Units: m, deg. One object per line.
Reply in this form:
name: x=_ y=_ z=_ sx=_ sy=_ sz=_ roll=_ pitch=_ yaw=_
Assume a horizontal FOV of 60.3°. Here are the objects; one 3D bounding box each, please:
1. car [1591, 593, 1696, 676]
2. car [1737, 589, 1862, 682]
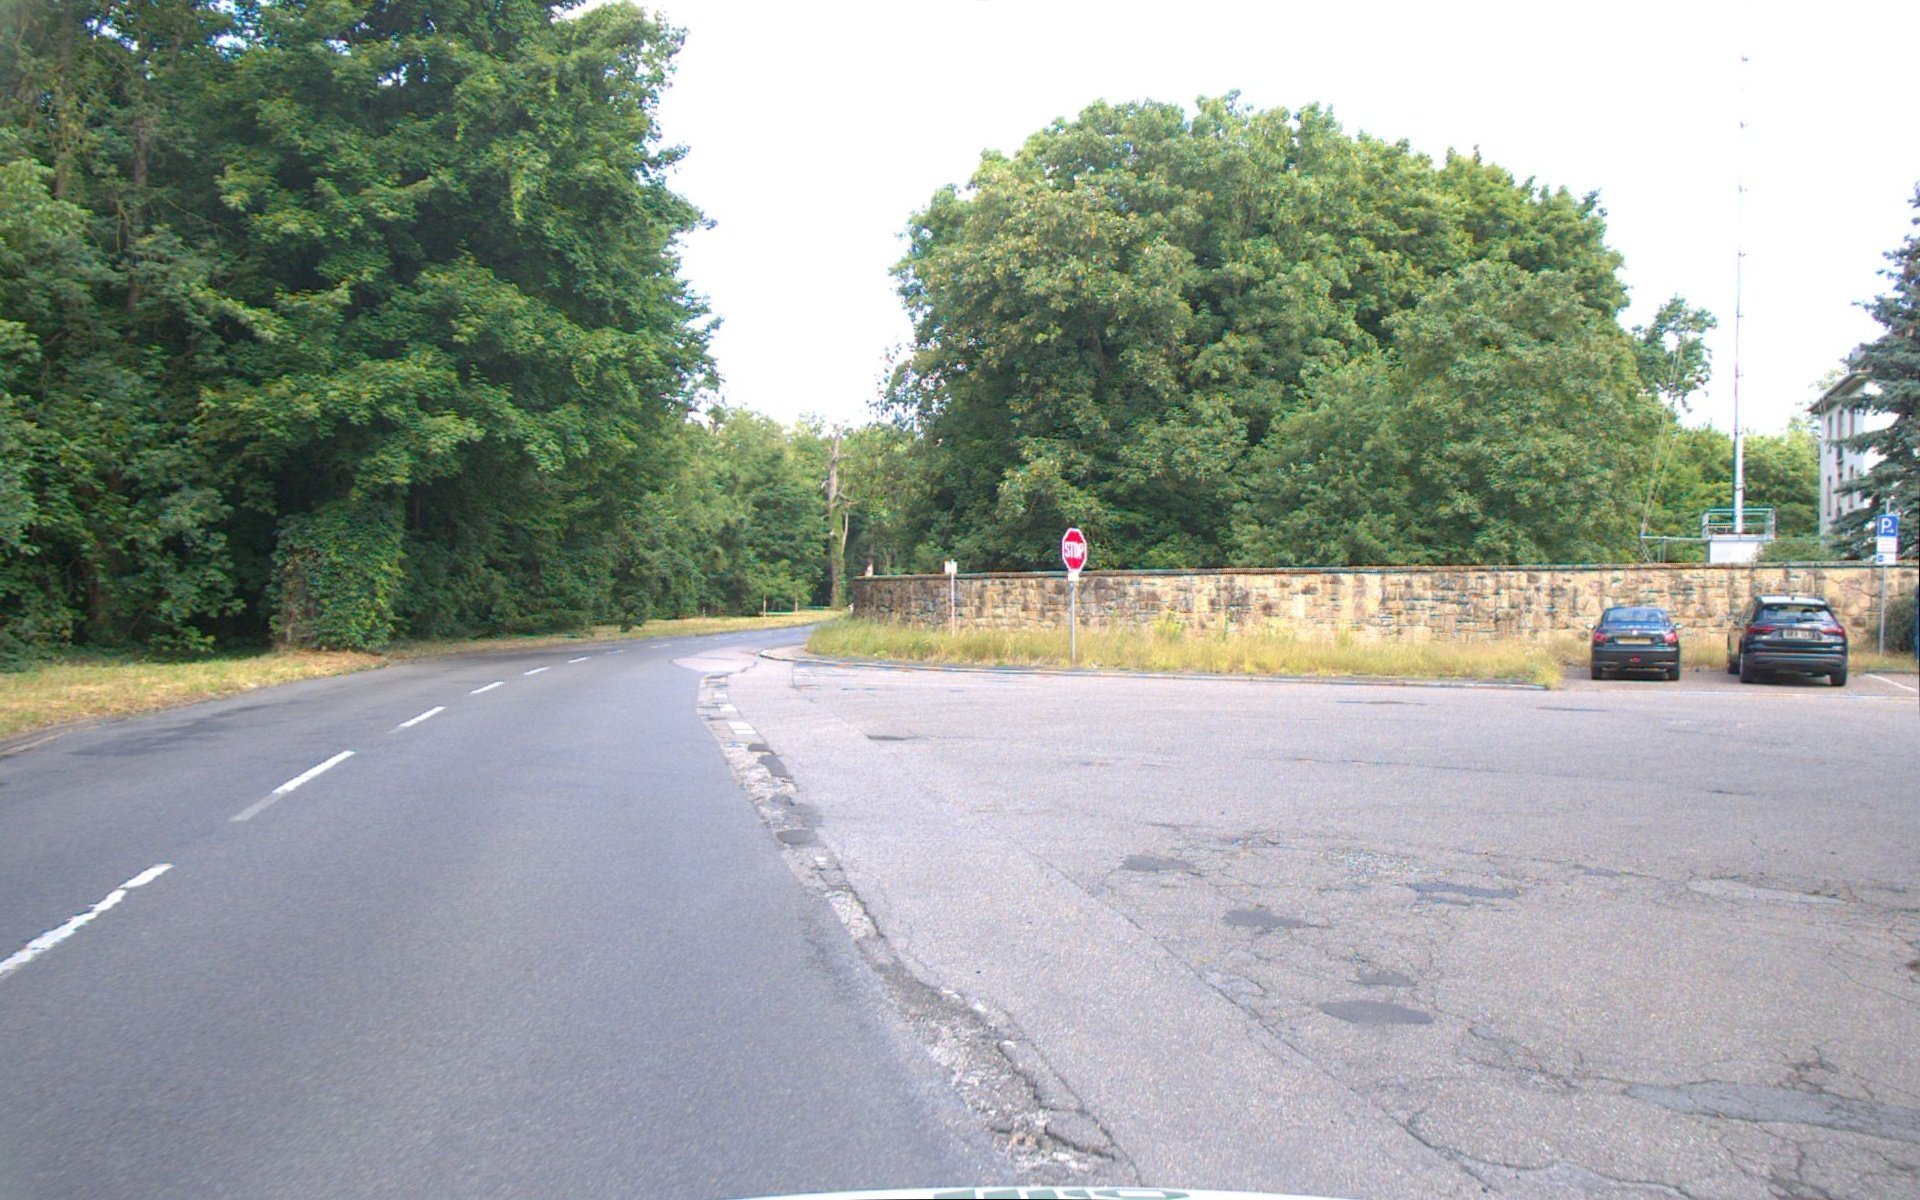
car: x=13.819 y=0.654 z=33.348 sx=1.835 sy=1.466 sz=3.999 roll=0 pitch=1 yaw=24
car: x=16.068 y=0.633 z=31.819 sx=1.855 sy=1.573 sz=3.999 roll=0 pitch=1 yaw=23
